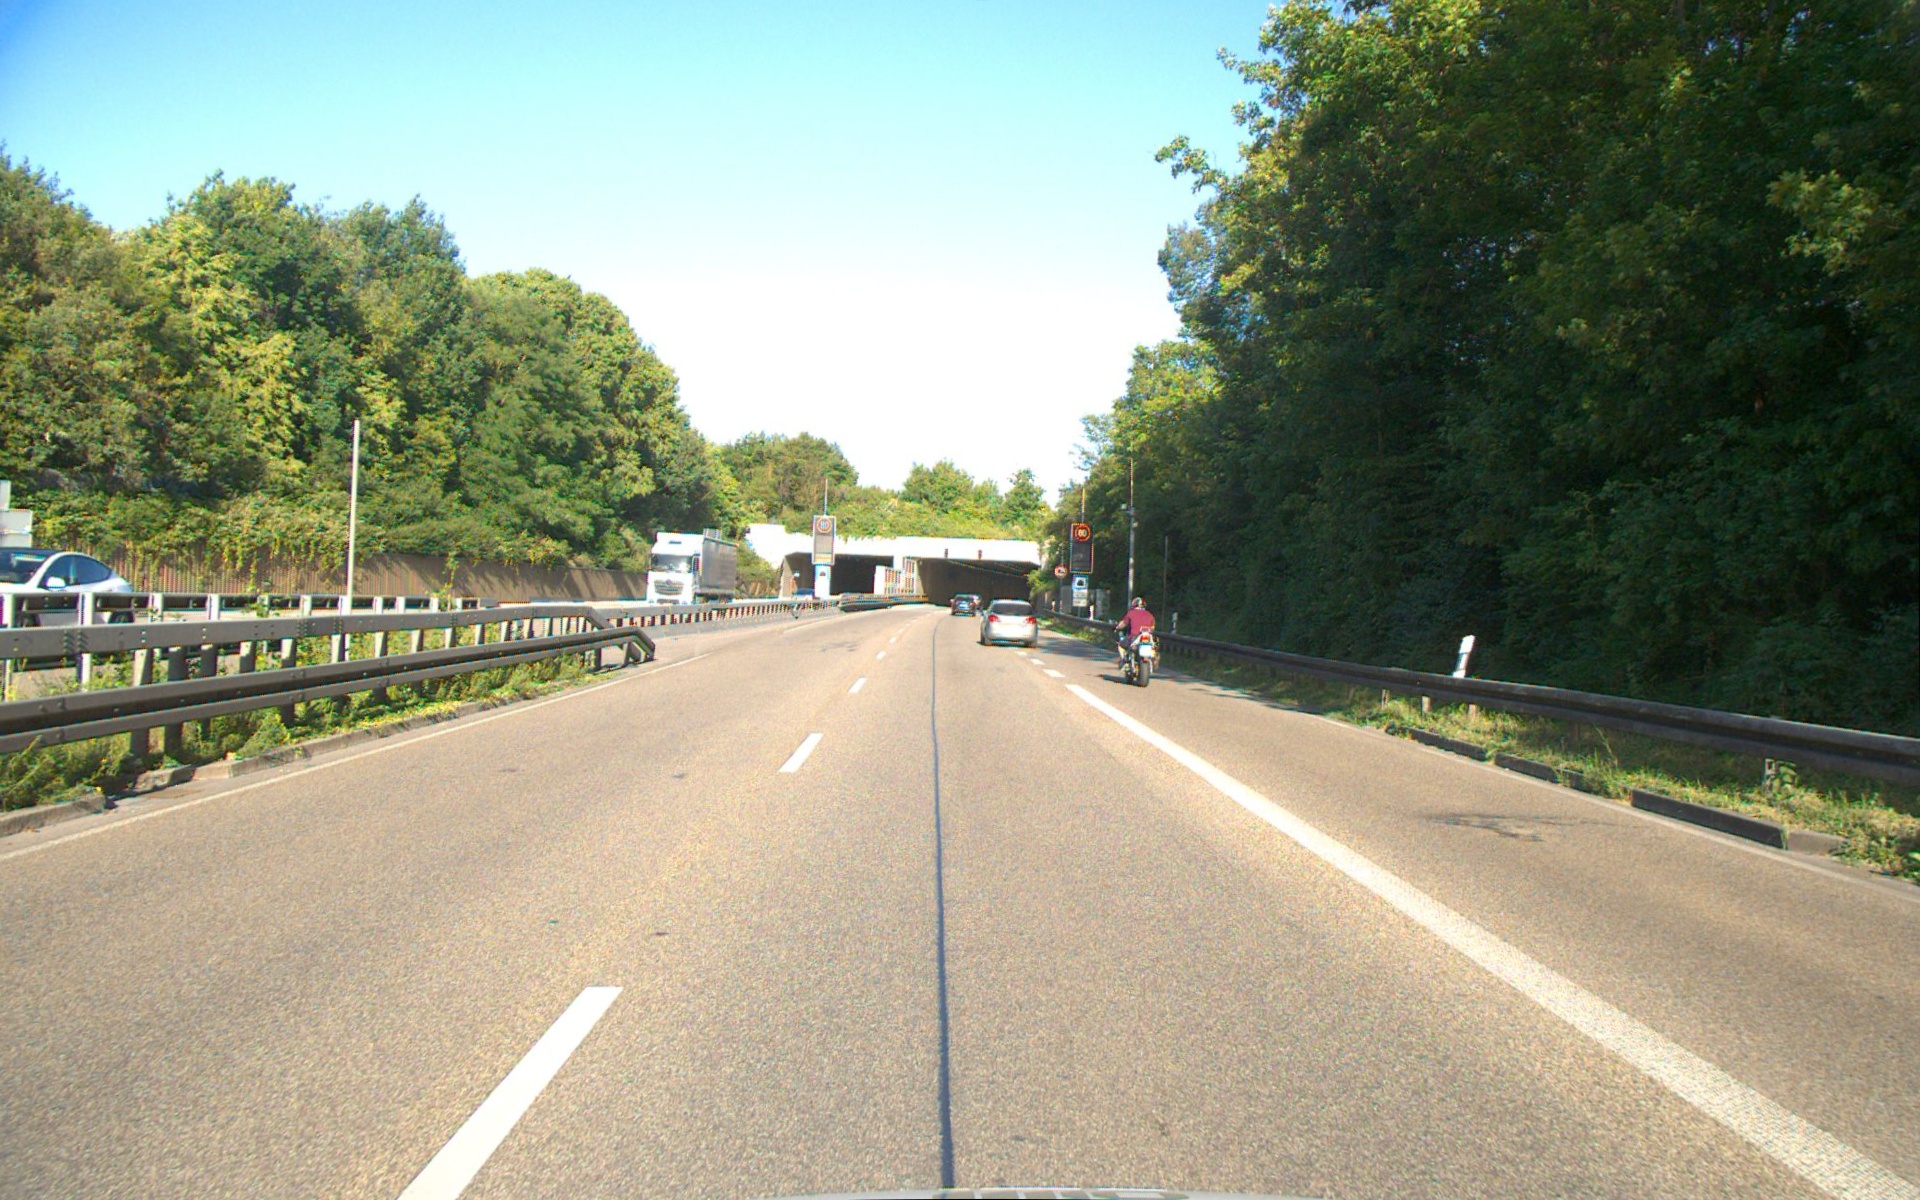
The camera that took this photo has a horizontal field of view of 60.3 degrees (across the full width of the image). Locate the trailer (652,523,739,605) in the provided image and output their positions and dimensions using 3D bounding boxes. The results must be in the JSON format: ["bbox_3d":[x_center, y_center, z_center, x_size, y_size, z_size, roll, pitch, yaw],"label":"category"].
[{"bbox_3d":[-15.509,-2.102,98.112,2.692,4.353,14.084,4,1,-1],"label":"trailer"}]

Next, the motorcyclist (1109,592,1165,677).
[{"bbox_3d":[3.353,0.642,31.427,0.865,1.527,1.063,4,1,0],"label":"motorcyclist"}]

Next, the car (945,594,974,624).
[{"bbox_3d":[-0.064,0.628,119.612,1.953,1.959,3.999,3,1,-1],"label":"car"}]

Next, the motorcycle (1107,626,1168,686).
[{"bbox_3d":[3.351,1.042,31.432,0.841,1.008,2.728,4,0,0],"label":"motorcycle"}]

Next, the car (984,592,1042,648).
[{"bbox_3d":[1.688,0.607,53.403,1.633,1.578,4.000,4,1,0],"label":"car"}]

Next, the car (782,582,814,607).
[{"bbox_3d":[-12.287,-0.405,125.900,1.953,1.686,4.938,4,1,-1],"label":"car"}]

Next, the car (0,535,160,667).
[{"bbox_3d":[-14.560,-0.058,25.612,1.953,1.813,4.785,4,1,-1],"label":"car"}]

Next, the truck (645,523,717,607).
[{"bbox_3d":[-15.424,-1.931,91.769,2.680,4.335,6.387,4,1,-1],"label":"truck"}]
